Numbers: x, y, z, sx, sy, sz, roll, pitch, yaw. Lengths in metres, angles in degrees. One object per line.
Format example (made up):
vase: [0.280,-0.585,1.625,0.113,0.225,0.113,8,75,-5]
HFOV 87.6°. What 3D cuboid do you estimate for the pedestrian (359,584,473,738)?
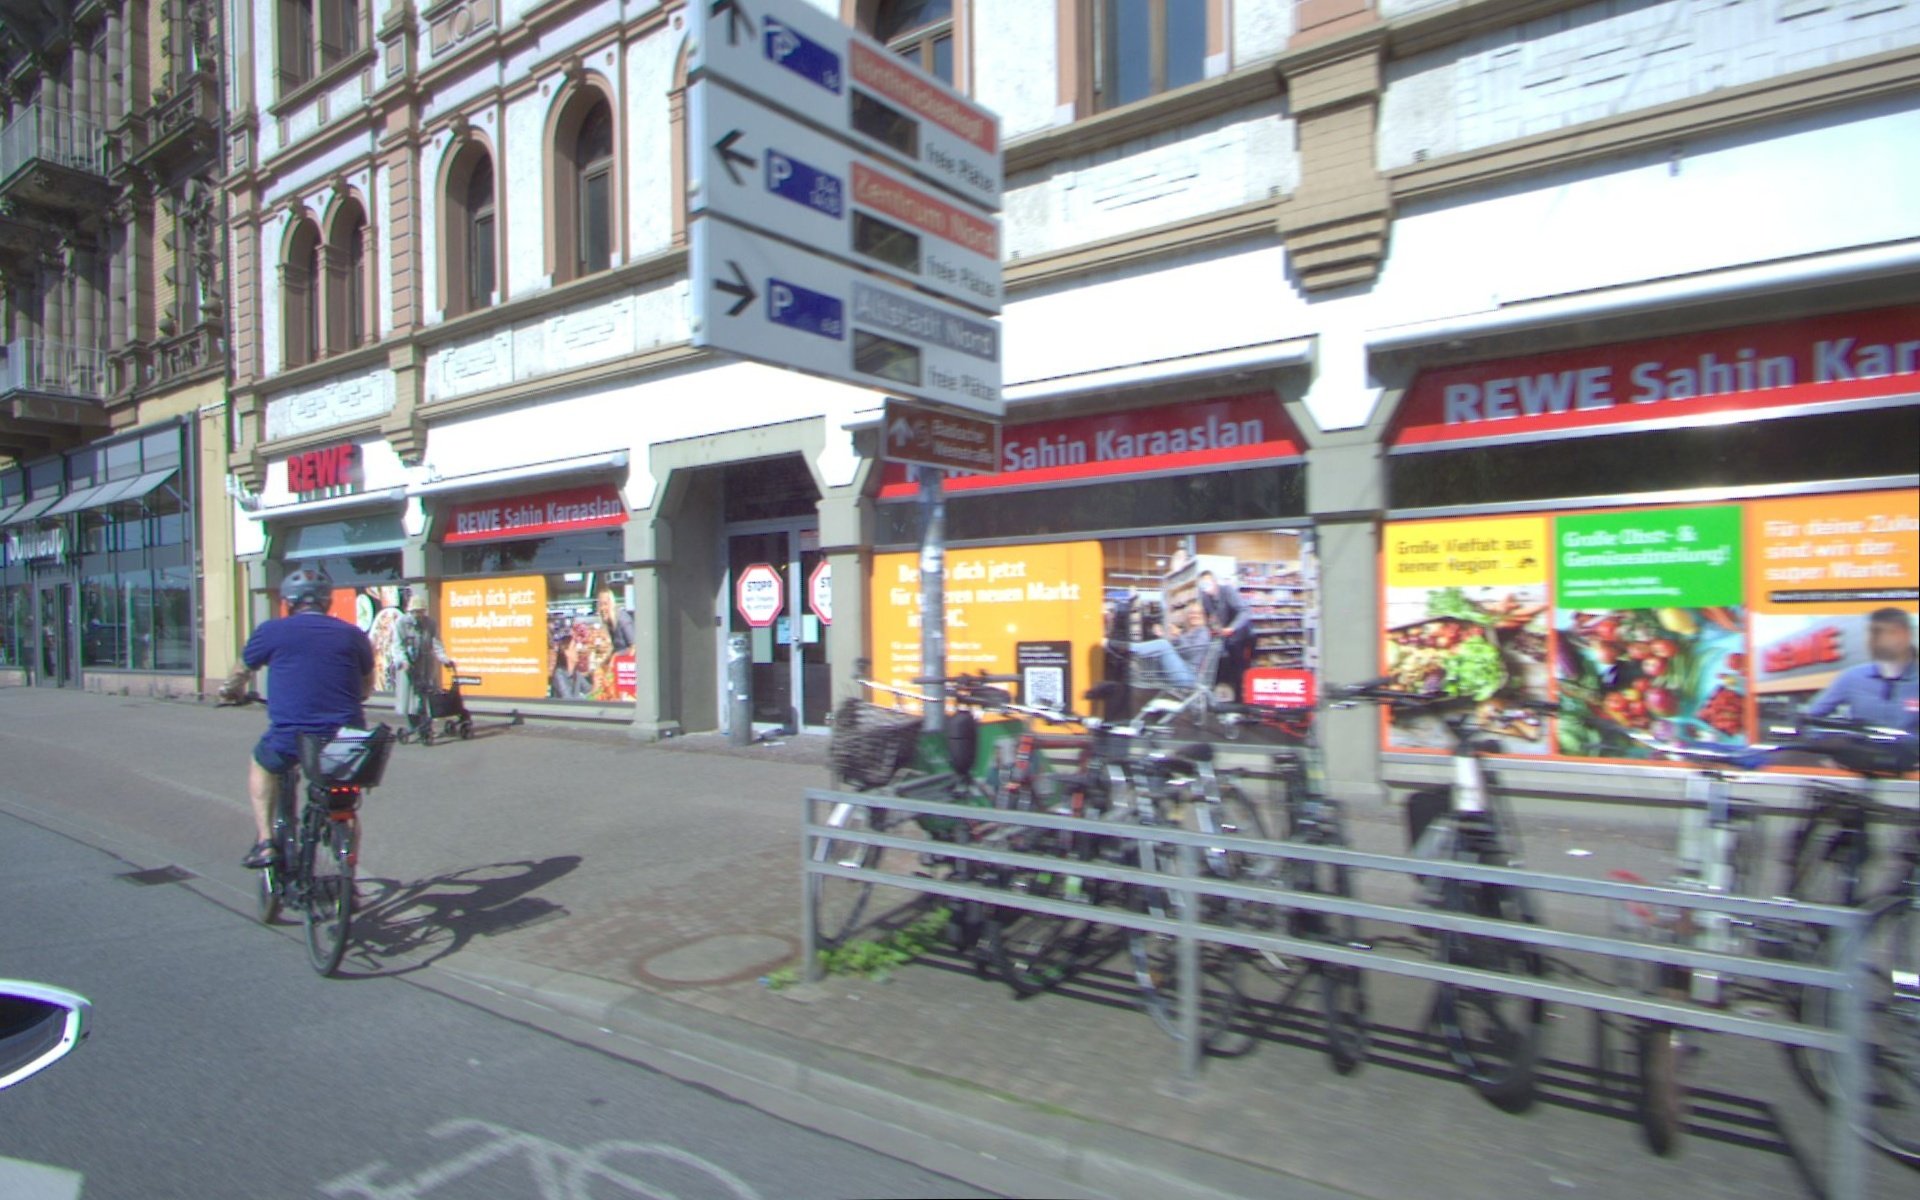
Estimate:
pedestrian: [-6.283,0.684,11.579,0.825,1.678,0.753,-2,3,32]

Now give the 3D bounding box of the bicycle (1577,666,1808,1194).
bicycle: [2.286,0.841,3.226,0.453,1.194,1.690,-1,-2,33]

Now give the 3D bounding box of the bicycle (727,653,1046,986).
bicycle: [-0.259,0.896,4.736,0.600,1.194,1.689,0,0,33]

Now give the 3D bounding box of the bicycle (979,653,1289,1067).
bicycle: [0.783,0.864,4.011,0.600,1.194,1.689,0,1,33]

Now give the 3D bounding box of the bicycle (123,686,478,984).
bicycle: [-3.198,1.001,4.805,1.884,1.106,0.732,-1,-2,33]

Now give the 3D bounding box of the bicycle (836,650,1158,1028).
bicycle: [0.251,0.884,4.377,0.600,1.195,1.688,0,2,33]

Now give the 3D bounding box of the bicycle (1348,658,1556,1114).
bicycle: [1.815,0.827,3.572,0.463,1.194,1.690,-1,-2,33]

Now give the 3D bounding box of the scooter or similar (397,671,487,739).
scooter or similar: [-5.875,1.177,11.368,0.557,0.659,0.689,-1,3,32]

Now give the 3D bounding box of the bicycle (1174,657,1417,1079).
bicycle: [1.339,0.835,3.788,0.463,1.194,1.690,-1,-2,33]

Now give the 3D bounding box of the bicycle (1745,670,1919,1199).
bicycle: [2.717,0.837,2.969,0.453,1.194,1.690,-1,-2,33]

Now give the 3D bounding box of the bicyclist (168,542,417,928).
bicyclist: [-3.198,0.594,4.805,0.906,1.636,0.687,-1,-2,34]

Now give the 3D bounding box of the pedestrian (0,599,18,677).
pedestrian: [-20.610,0.804,21.280,0.803,1.642,0.653,0,1,32]
